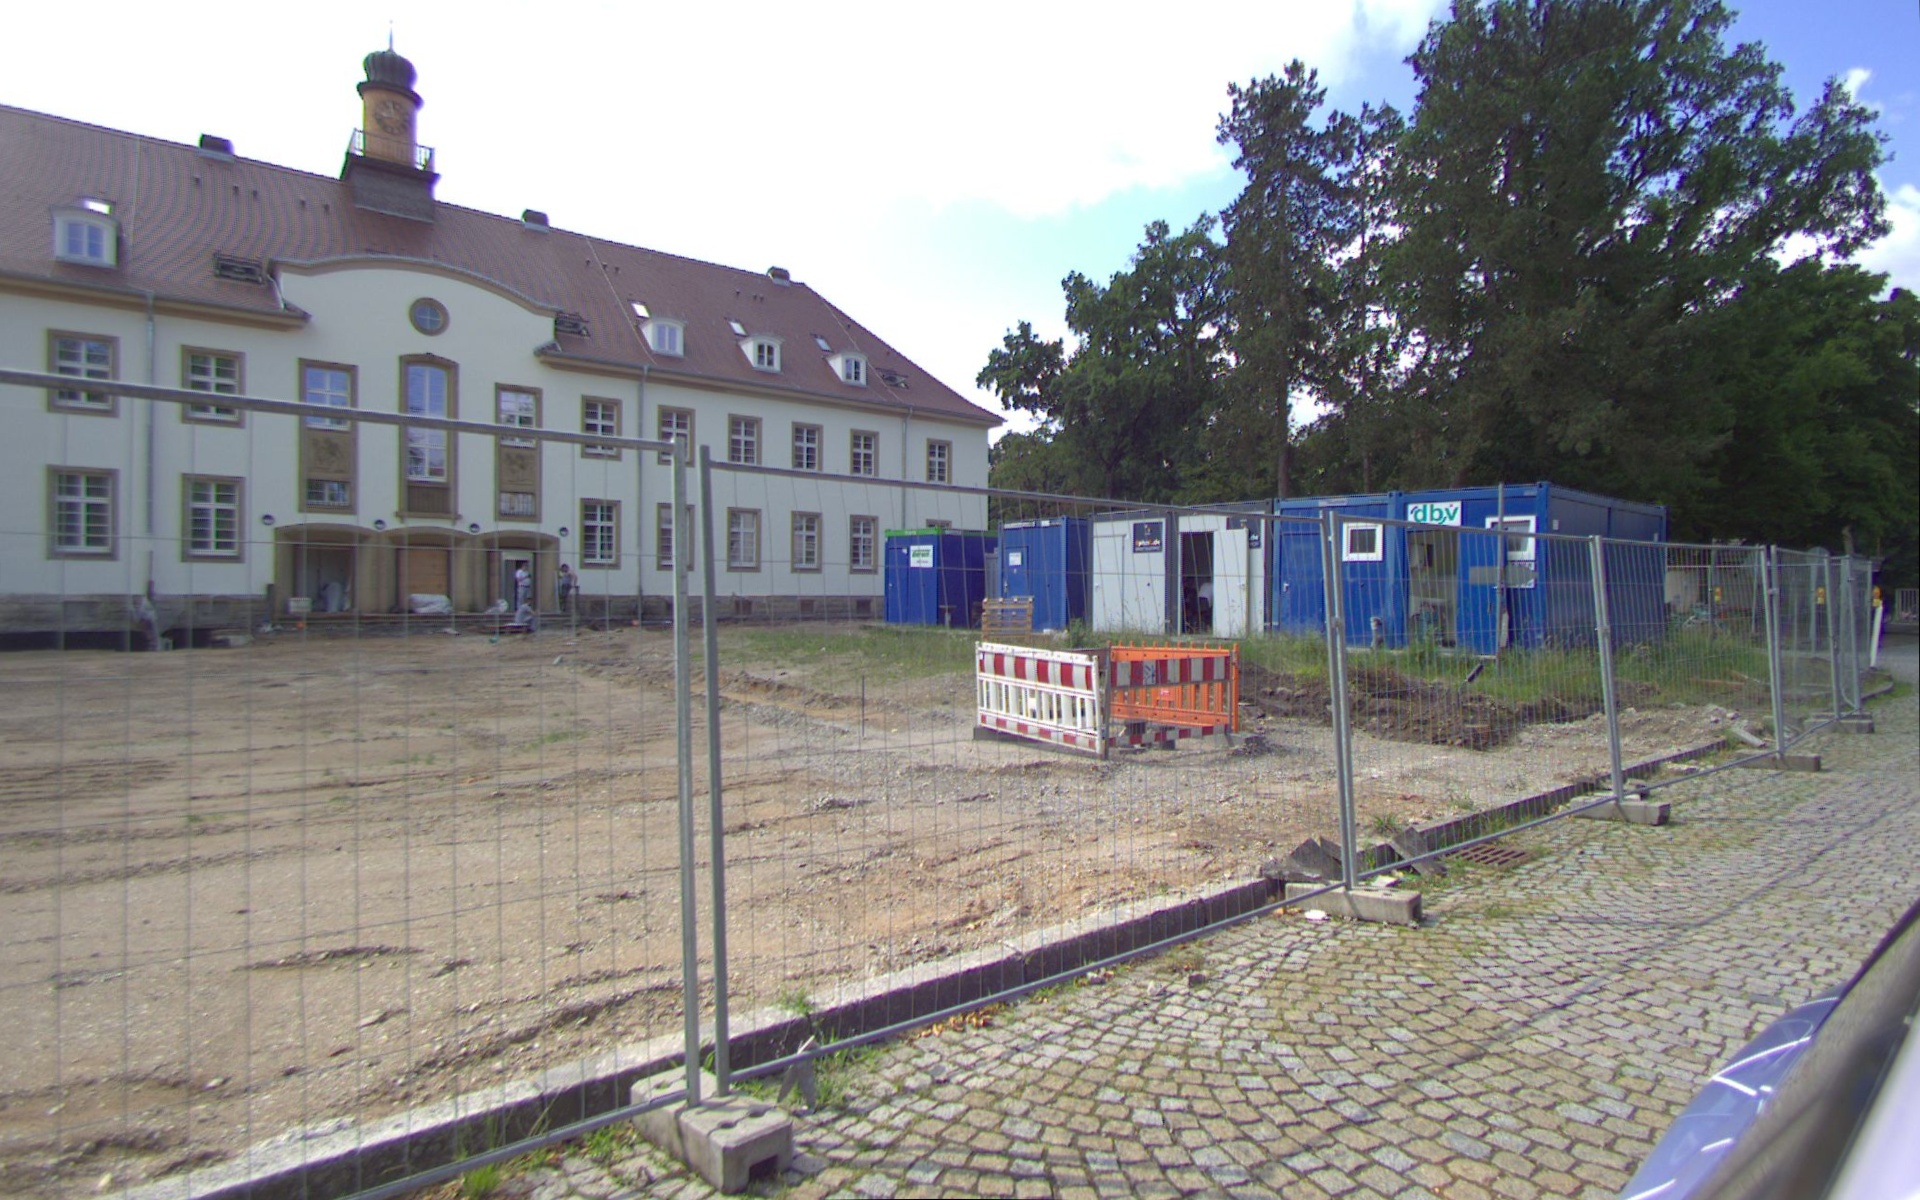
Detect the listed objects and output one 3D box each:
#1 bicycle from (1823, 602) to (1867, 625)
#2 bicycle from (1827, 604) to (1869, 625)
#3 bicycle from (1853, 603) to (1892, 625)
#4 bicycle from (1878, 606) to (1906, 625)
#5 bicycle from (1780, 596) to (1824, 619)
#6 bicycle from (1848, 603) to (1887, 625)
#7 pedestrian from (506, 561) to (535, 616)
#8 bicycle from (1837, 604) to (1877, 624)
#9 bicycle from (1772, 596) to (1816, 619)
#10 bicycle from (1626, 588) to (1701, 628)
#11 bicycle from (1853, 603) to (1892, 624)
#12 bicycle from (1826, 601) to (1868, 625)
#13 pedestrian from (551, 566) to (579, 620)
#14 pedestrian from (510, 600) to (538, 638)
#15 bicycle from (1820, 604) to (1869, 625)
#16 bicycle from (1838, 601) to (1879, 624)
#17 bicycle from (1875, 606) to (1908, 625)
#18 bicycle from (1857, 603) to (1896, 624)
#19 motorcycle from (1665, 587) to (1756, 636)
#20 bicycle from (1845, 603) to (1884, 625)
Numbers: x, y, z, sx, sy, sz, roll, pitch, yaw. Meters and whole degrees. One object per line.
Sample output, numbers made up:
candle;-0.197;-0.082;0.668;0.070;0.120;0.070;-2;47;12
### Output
bicycle;46.197;0.714;52.818;1.673;1.122;0.334;3;2;38
bicycle;47.264;0.768;53.860;1.616;0.988;0.320;2;1;22
bicycle;52.144;0.773;57.818;1.613;1.155;0.350;3;2;44
bicycle;53.512;0.887;58.115;1.144;1.076;0.284;0;0;31
bicycle;45.966;0.398;55.257;0.598;1.179;1.743;1;2;-43
bicycle;51.154;0.769;57.055;1.613;1.155;0.320;3;2;44
pedestrian;-14.921;-0.382;34.355;0.722;1.858;0.646;0;0;-41
bicycle;49.831;0.780;56.236;1.626;1.063;0.330;3;2;37
bicycle;45.104;0.404;54.718;0.598;1.179;1.743;1;2;-43
bicycle;22.149;0.242;31.906;0.642;1.212;1.909;1;1;-20
bicycle;51.827;0.761;57.472;1.613;1.155;0.320;3;2;44
bicycle;47.655;0.672;54.386;1.627;1.204;0.467;3;2;38
pedestrian;-13.705;-0.255;35.133;0.636;1.858;0.876;0;0;-42
pedestrian;-14.288;0.602;33.152;0.709;1.225;0.669;0;0;-38
bicycle;46.687;0.759;53.431;1.725;0.988;0.753;2;1;21
bicycle;49.489;0.694;55.777;1.627;1.204;0.492;3;2;39
bicycle;53.798;0.907;58.456;1.391;1.059;0.336;0;0;25
bicycle;52.669;0.769;58.191;1.613;1.155;0.350;3;2;44
motorcycle;24.484;0.347;33.055;0.744;1.504;2.279;1;1;-43
bicycle;50.628;0.772;56.667;1.592;1.155;0.320;3;2;44
